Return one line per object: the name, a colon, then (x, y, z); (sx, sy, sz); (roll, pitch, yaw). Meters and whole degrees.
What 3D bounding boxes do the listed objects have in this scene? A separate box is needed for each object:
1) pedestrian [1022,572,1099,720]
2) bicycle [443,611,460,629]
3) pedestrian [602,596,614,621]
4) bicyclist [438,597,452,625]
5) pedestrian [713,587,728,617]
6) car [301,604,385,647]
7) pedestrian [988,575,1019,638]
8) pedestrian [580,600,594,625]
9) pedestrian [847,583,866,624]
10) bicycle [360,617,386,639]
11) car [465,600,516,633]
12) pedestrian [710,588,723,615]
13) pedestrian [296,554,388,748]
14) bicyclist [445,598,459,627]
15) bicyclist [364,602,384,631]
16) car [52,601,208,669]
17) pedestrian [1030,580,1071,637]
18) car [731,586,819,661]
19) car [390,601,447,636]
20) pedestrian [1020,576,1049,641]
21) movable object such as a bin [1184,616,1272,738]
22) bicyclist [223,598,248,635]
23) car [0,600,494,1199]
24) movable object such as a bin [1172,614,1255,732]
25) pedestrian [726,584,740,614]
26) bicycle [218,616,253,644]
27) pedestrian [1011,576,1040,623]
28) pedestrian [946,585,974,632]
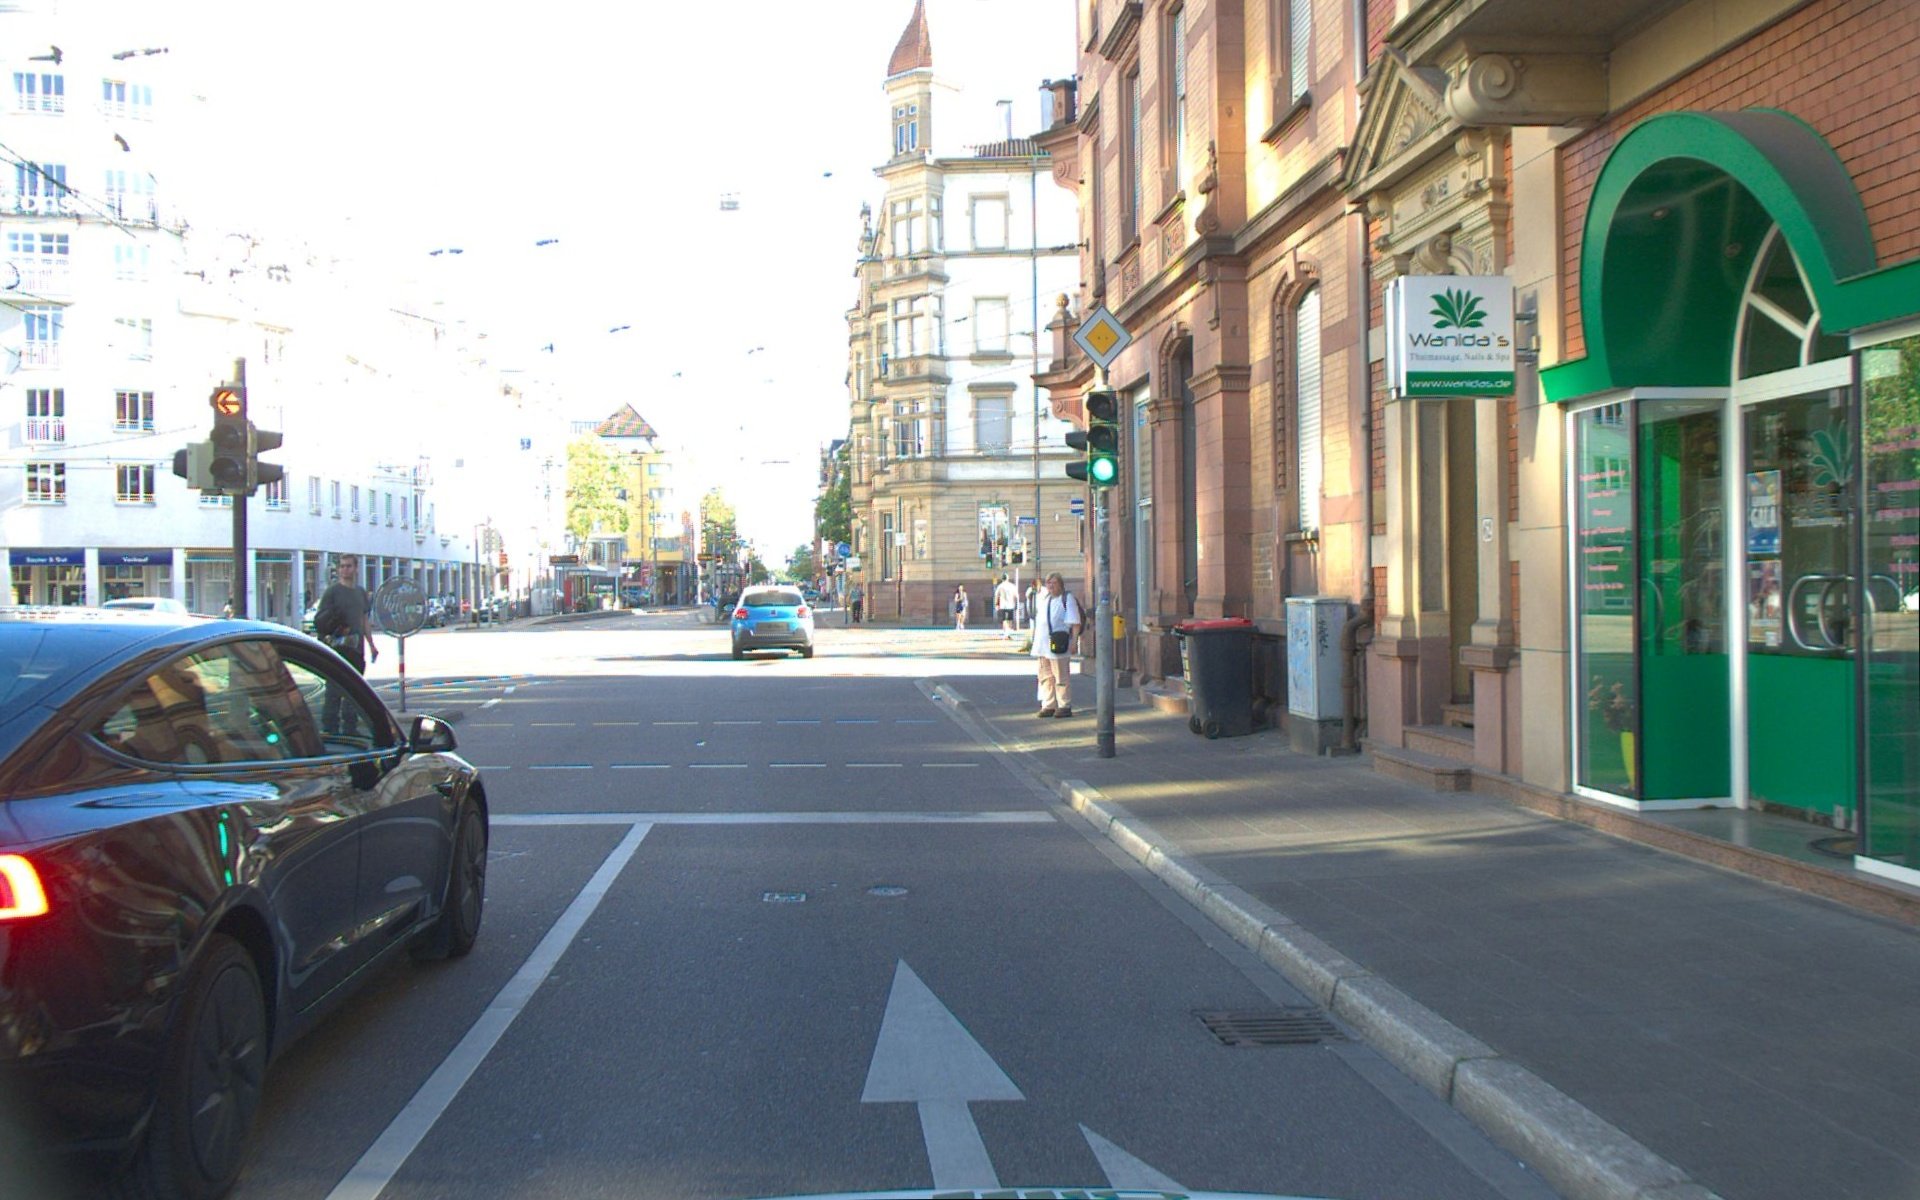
pedestrian: (1.135, 0.507, 18.819); (0.669, 1.635, 0.728); (-1, 0, -15)
bicycle: (-28.620, 1.102, 93.160); (0.583, 0.989, 2.044); (-1, -1, -8)
pedestrian: (-22.927, 0.555, 107.803); (0.717, 1.586, 0.742); (0, 1, -7)
bicyclist: (-28.192, 0.598, 90.534); (0.577, 1.514, 0.926); (-1, -1, -8)
pedestrian: (-14.458, 0.116, 99.744); (0.703, 1.808, 0.564); (-1, 0, 30)
car: (-23.325, 0.922, 62.685); (1.956, 1.477, 4.643); (-1, 1, -7)
pedestrian: (1.191, 0.176, 45.302); (0.685, 1.684, 0.632); (-1, -1, 16)
pedestrian: (-22.954, 0.775, 101.739); (0.717, 1.554, 0.742); (0, 1, -7)
pedestrian: (-4.617, 0.141, 73.806); (0.765, 1.780, 1.091); (0, 2, -8)
bicycle: (-26.578, 1.257, 74.947); (0.582, 0.989, 1.853); (-1, -1, -2)
car: (-28.263, 0.980, 99.647); (2.184, 1.944, 4.602); (-1, 0, -7)
pedestrian: (-14.632, 0.084, 99.324); (0.574, 1.589, 0.469); (-1, 0, 30)
pedestrian: (-5.961, 0.476, 15.987); (0.547, 1.794, 0.894); (-3, 0, -6)
bicyclist: (-28.571, 0.709, 93.050); (0.577, 1.613, 0.894); (-1, -1, -8)
bicyclist: (-26.580, 0.747, 75.024); (0.576, 1.308, 0.991); (-1, -1, -2)
car: (-20.022, 0.800, 40.099); (1.956, 1.477, 4.495); (-1, 1, -7)
pedestrian: (2.716, 0.265, 49.383); (0.904, 1.660, 0.941); (-2, -1, 26)
car: (-3.885, 0.467, 35.111); (1.746, 1.476, 3.650); (1, 0, -5)
car: (-26.852, 0.922, 82.183); (1.956, 1.624, 3.993); (-1, -1, -8)
pedestrian: (2.038, 0.234, 45.182); (0.630, 1.775, 0.706); (0, -1, 16)
movable object such as a bin: (2.538, 0.719, 15.716); (0.650, 1.091, 0.590); (-4, 0, -4)
bicyclist: (-26.349, 0.598, 60.165); (0.577, 1.308, 0.926); (-1, -1, -5)
car: (-2.694, 0.746, 4.975); (1.775, 1.449, 4.148); (1, 0, -6)
movable object such as a bin: (2.491, 0.706, 16.299); (0.650, 1.091, 0.545); (-4, 0, -4)
pedestrian: (-13.028, -0.065, 94.987); (0.623, 1.727, 0.933); (1, -1, 2)
bicycle: (-26.357, 1.089, 60.174); (0.582, 0.989, 1.816); (-1, -1, -5)
pedestrian: (2.201, -0.019, 55.666); (0.620, 1.564, 0.941); (-2, -1, 26)
pedestrian: (0.000, 0.300, 58.698); (0.903, 1.660, 0.942); (-1, -1, 3)
